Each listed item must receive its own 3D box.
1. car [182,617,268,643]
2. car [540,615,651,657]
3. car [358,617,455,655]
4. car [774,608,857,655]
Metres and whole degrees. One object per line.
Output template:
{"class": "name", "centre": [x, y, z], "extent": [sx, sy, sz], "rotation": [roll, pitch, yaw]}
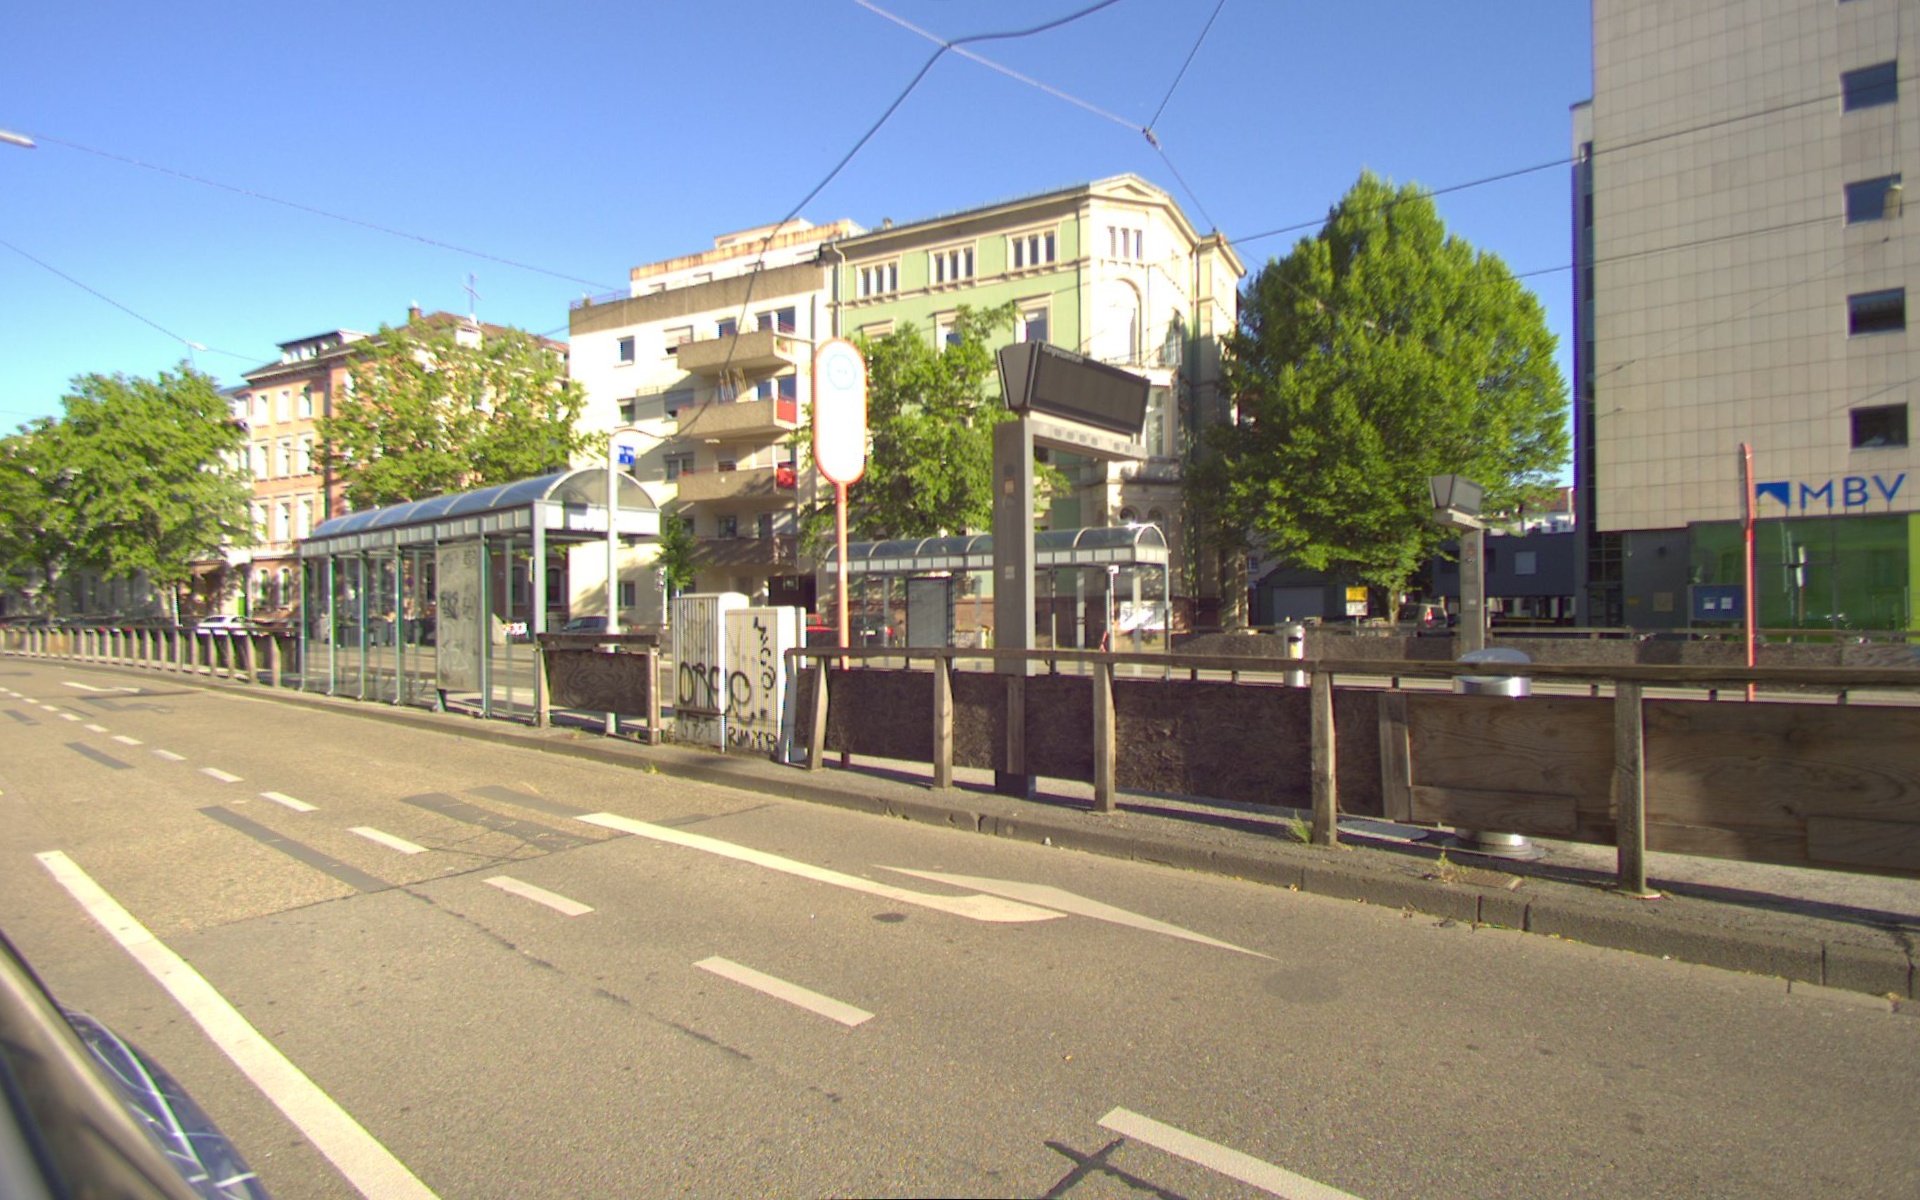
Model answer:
{"class": "car", "centre": [-39.231, 1.579, 54.108], "extent": [1.565, 1.360, 3.631], "rotation": [0, -1, 11]}
{"class": "car", "centre": [-14.006, 1.379, 38.825], "extent": [3.987, 1.542, 1.978], "rotation": [-1, -3, 32]}
{"class": "car", "centre": [-23.654, 1.513, 43.221], "extent": [3.987, 1.541, 1.978], "rotation": [-1, -2, 32]}
{"class": "car", "centre": [-6.439, 1.409, 45.586], "extent": [1.791, 2.029, 3.963], "rotation": [-1, -1, 27]}
